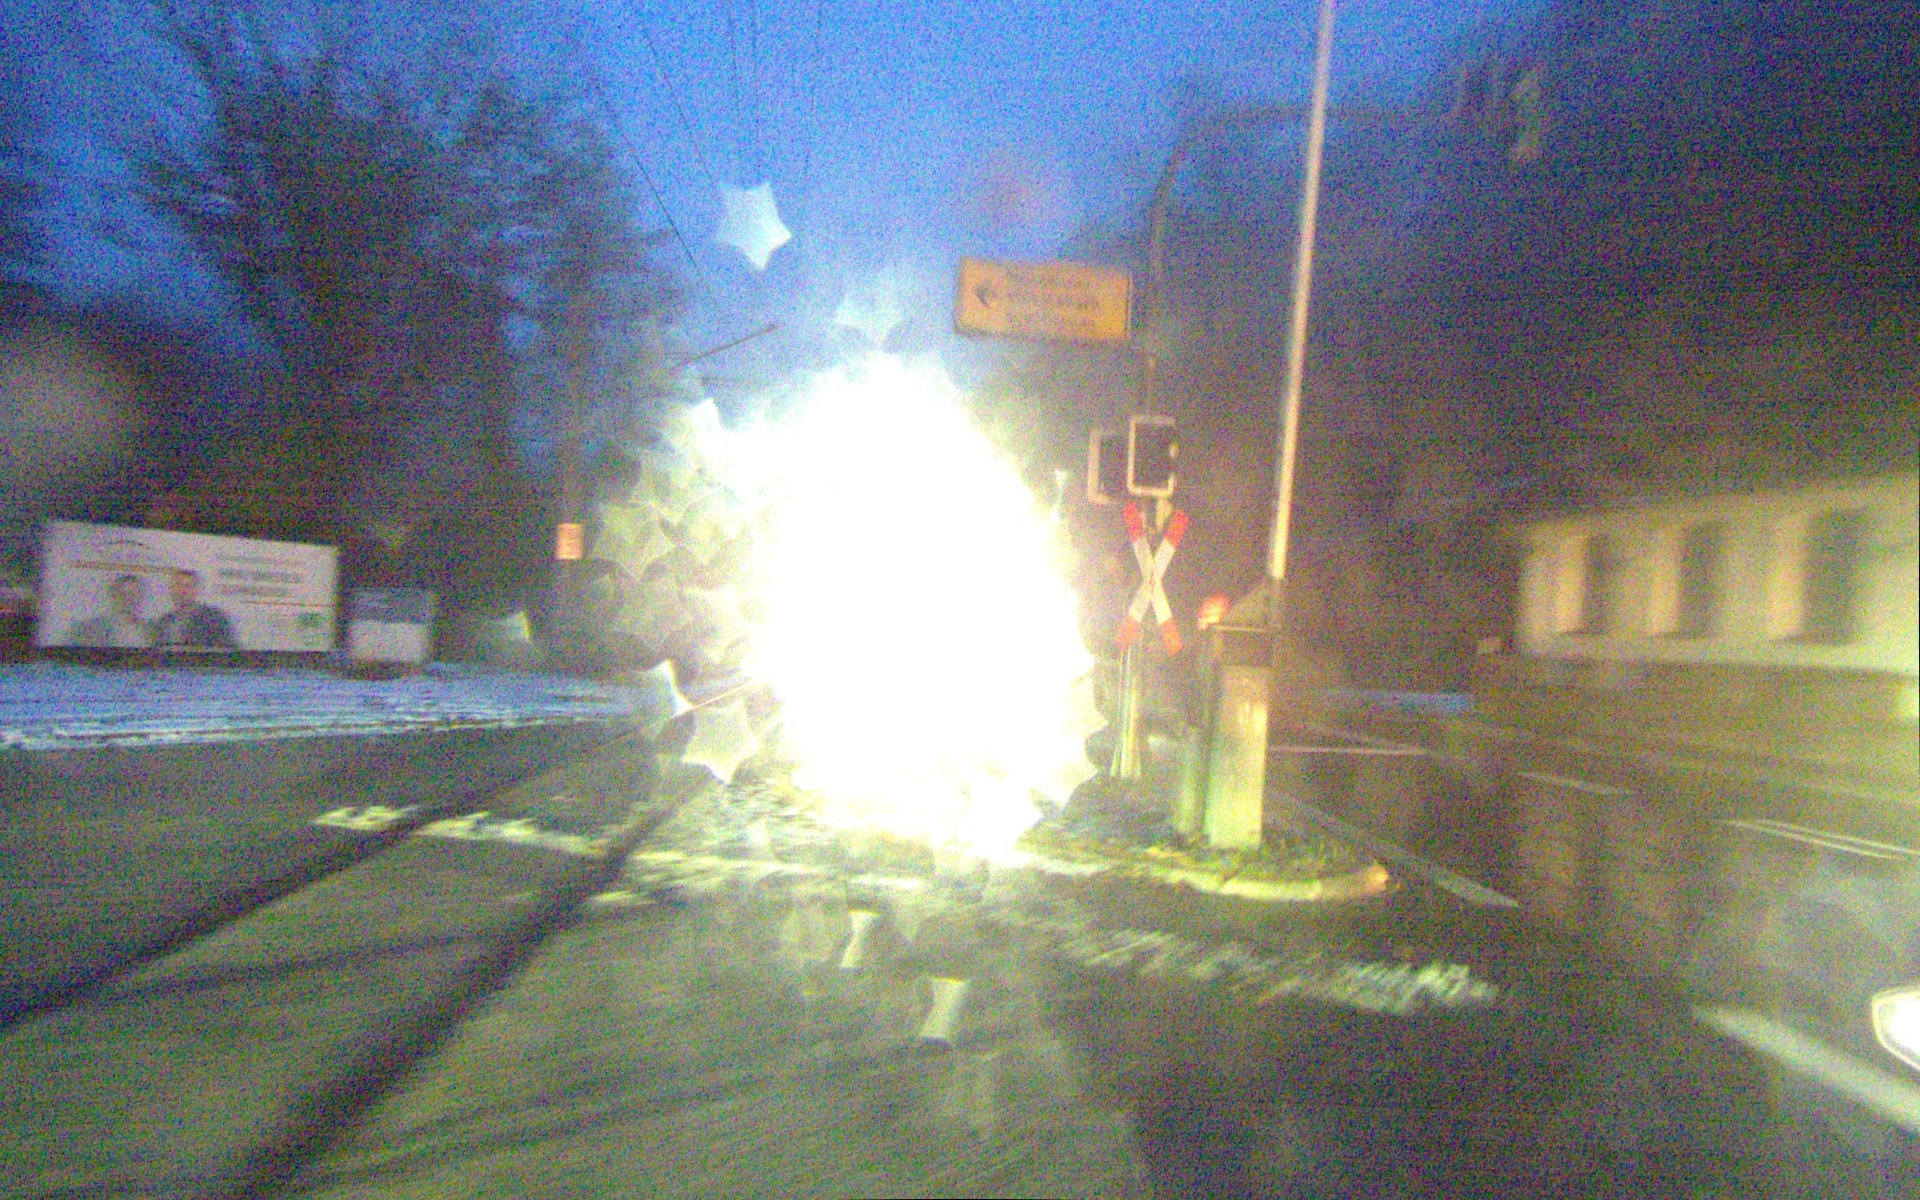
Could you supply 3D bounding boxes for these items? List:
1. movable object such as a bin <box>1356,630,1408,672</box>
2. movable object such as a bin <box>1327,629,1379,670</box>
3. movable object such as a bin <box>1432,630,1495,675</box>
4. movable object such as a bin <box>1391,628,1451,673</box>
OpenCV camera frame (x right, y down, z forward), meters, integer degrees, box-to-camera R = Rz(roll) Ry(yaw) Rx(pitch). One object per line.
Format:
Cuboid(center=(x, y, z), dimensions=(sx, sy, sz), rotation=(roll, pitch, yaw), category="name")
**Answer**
Cuboid(center=(14.217, 1.703, 33.854), dimensions=(1.144, 1.343, 1.218), rotation=(1, 0, -40), category="movable object such as a bin")
Cuboid(center=(13.731, 1.713, 35.078), dimensions=(1.167, 1.326, 1.306), rotation=(0, 0, -42), category="movable object such as a bin")
Cuboid(center=(15.857, 1.654, 31.628), dimensions=(1.238, 1.316, 1.305), rotation=(2, 0, -34), category="movable object such as a bin")
Cuboid(center=(15.058, 1.628, 32.830), dimensions=(1.238, 1.432, 1.378), rotation=(1, -2, -34), category="movable object such as a bin")
